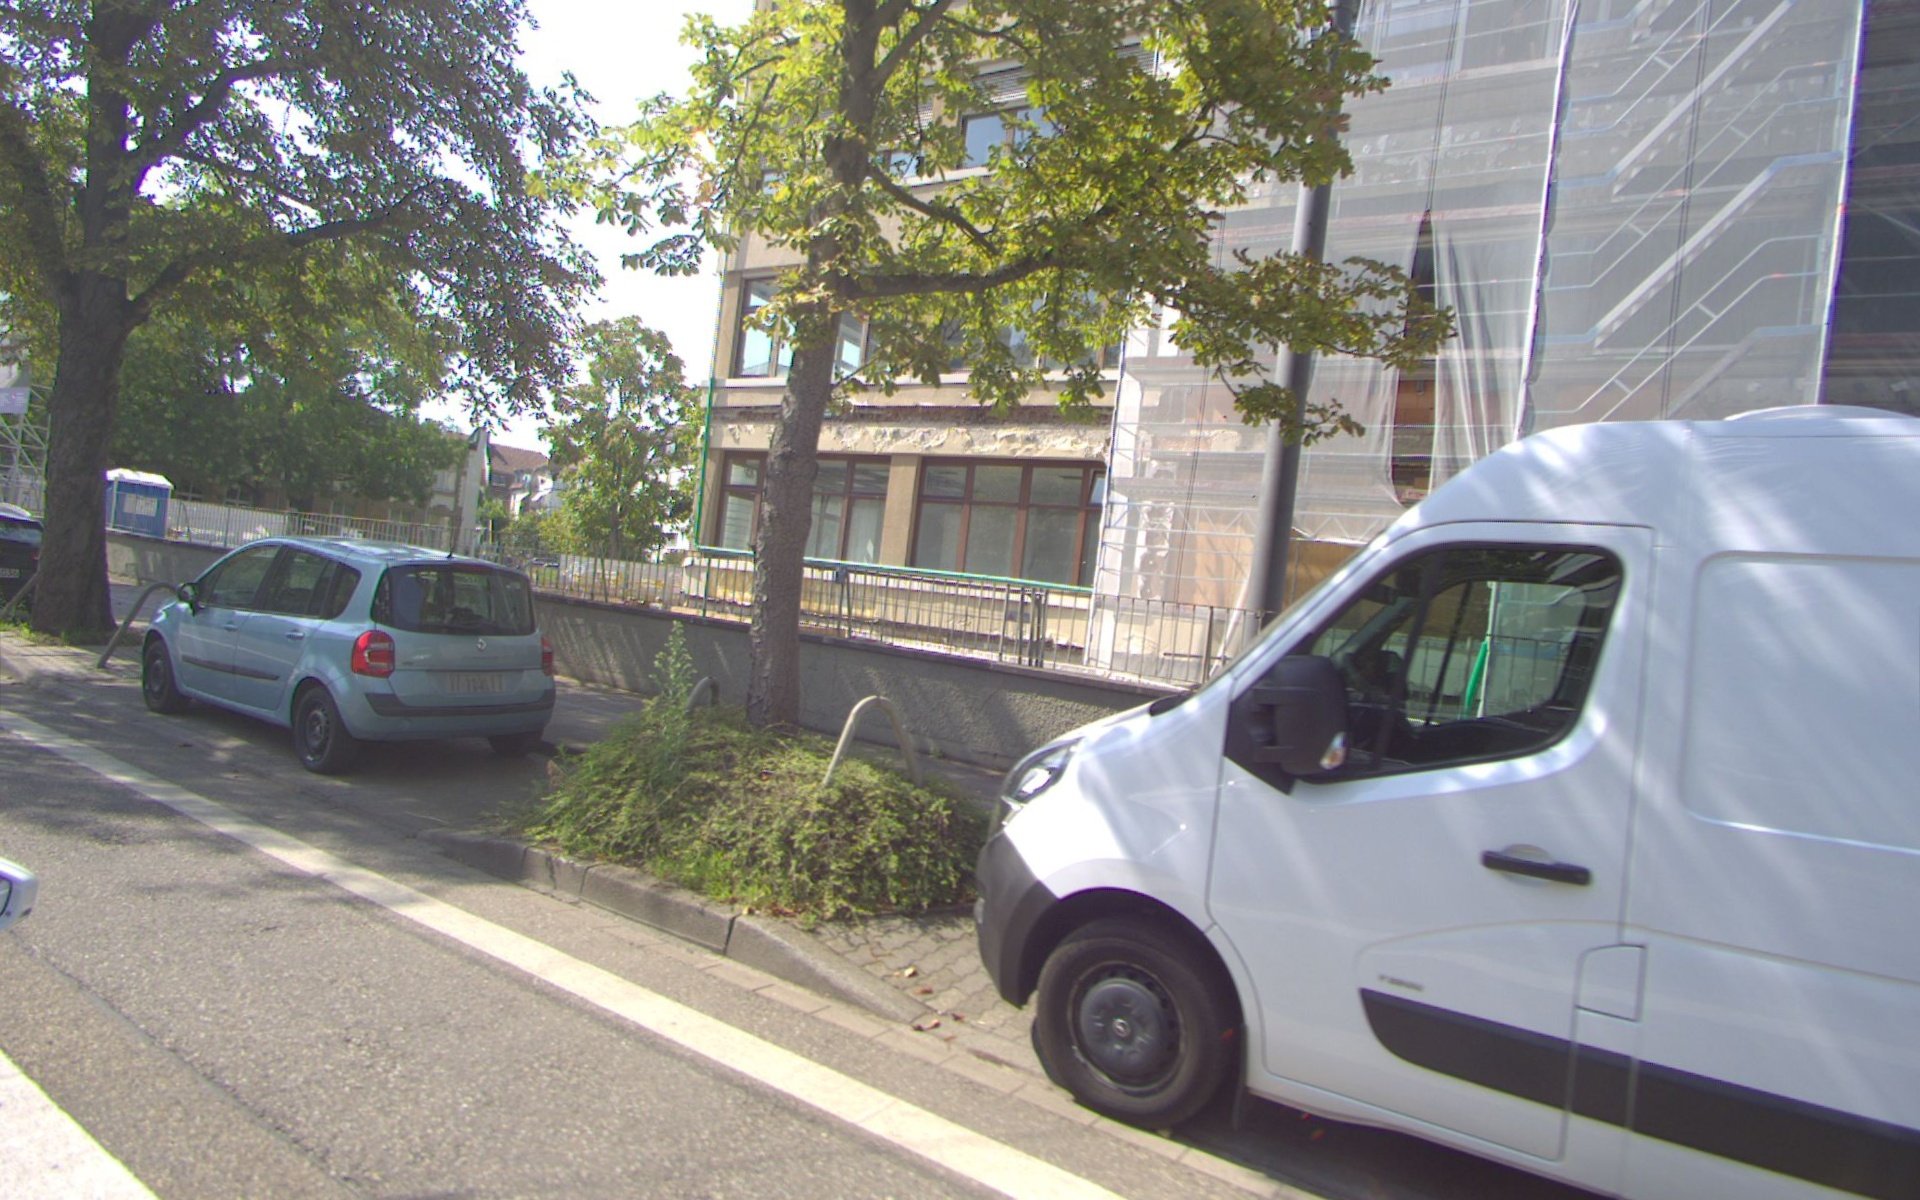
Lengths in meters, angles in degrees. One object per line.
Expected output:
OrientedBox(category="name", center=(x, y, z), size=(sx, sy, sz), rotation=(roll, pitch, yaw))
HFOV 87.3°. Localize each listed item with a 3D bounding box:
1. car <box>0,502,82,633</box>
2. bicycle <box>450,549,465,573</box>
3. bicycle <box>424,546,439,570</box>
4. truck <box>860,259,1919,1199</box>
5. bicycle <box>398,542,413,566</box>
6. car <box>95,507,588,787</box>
OrientedBox(category="car", center=(-13.351, -0.625, 12.975), size=(4.586, 1.476, 1.676), rotation=(7, 0, 31))
OrientedBox(category="bicycle", center=(-29.909, -2.303, 59.845), size=(0.602, 1.318, 2.159), rotation=(7, -1, -28))
OrientedBox(category="bicycle", center=(-31.066, -2.474, 59.153), size=(0.602, 1.318, 2.159), rotation=(7, -1, -28))
OrientedBox(category="truck", center=(2.605, 0.567, 3.255), size=(5.498, 2.630, 1.920), rotation=(7, 0, 30))
OrientedBox(category="bicycle", center=(-32.223, -2.672, 58.476), size=(0.602, 1.318, 2.159), rotation=(7, -1, -28))
OrientedBox(category="car", center=(-5.143, 0.249, 8.215), size=(4.102, 1.600, 1.675), rotation=(7, 1, 31))
